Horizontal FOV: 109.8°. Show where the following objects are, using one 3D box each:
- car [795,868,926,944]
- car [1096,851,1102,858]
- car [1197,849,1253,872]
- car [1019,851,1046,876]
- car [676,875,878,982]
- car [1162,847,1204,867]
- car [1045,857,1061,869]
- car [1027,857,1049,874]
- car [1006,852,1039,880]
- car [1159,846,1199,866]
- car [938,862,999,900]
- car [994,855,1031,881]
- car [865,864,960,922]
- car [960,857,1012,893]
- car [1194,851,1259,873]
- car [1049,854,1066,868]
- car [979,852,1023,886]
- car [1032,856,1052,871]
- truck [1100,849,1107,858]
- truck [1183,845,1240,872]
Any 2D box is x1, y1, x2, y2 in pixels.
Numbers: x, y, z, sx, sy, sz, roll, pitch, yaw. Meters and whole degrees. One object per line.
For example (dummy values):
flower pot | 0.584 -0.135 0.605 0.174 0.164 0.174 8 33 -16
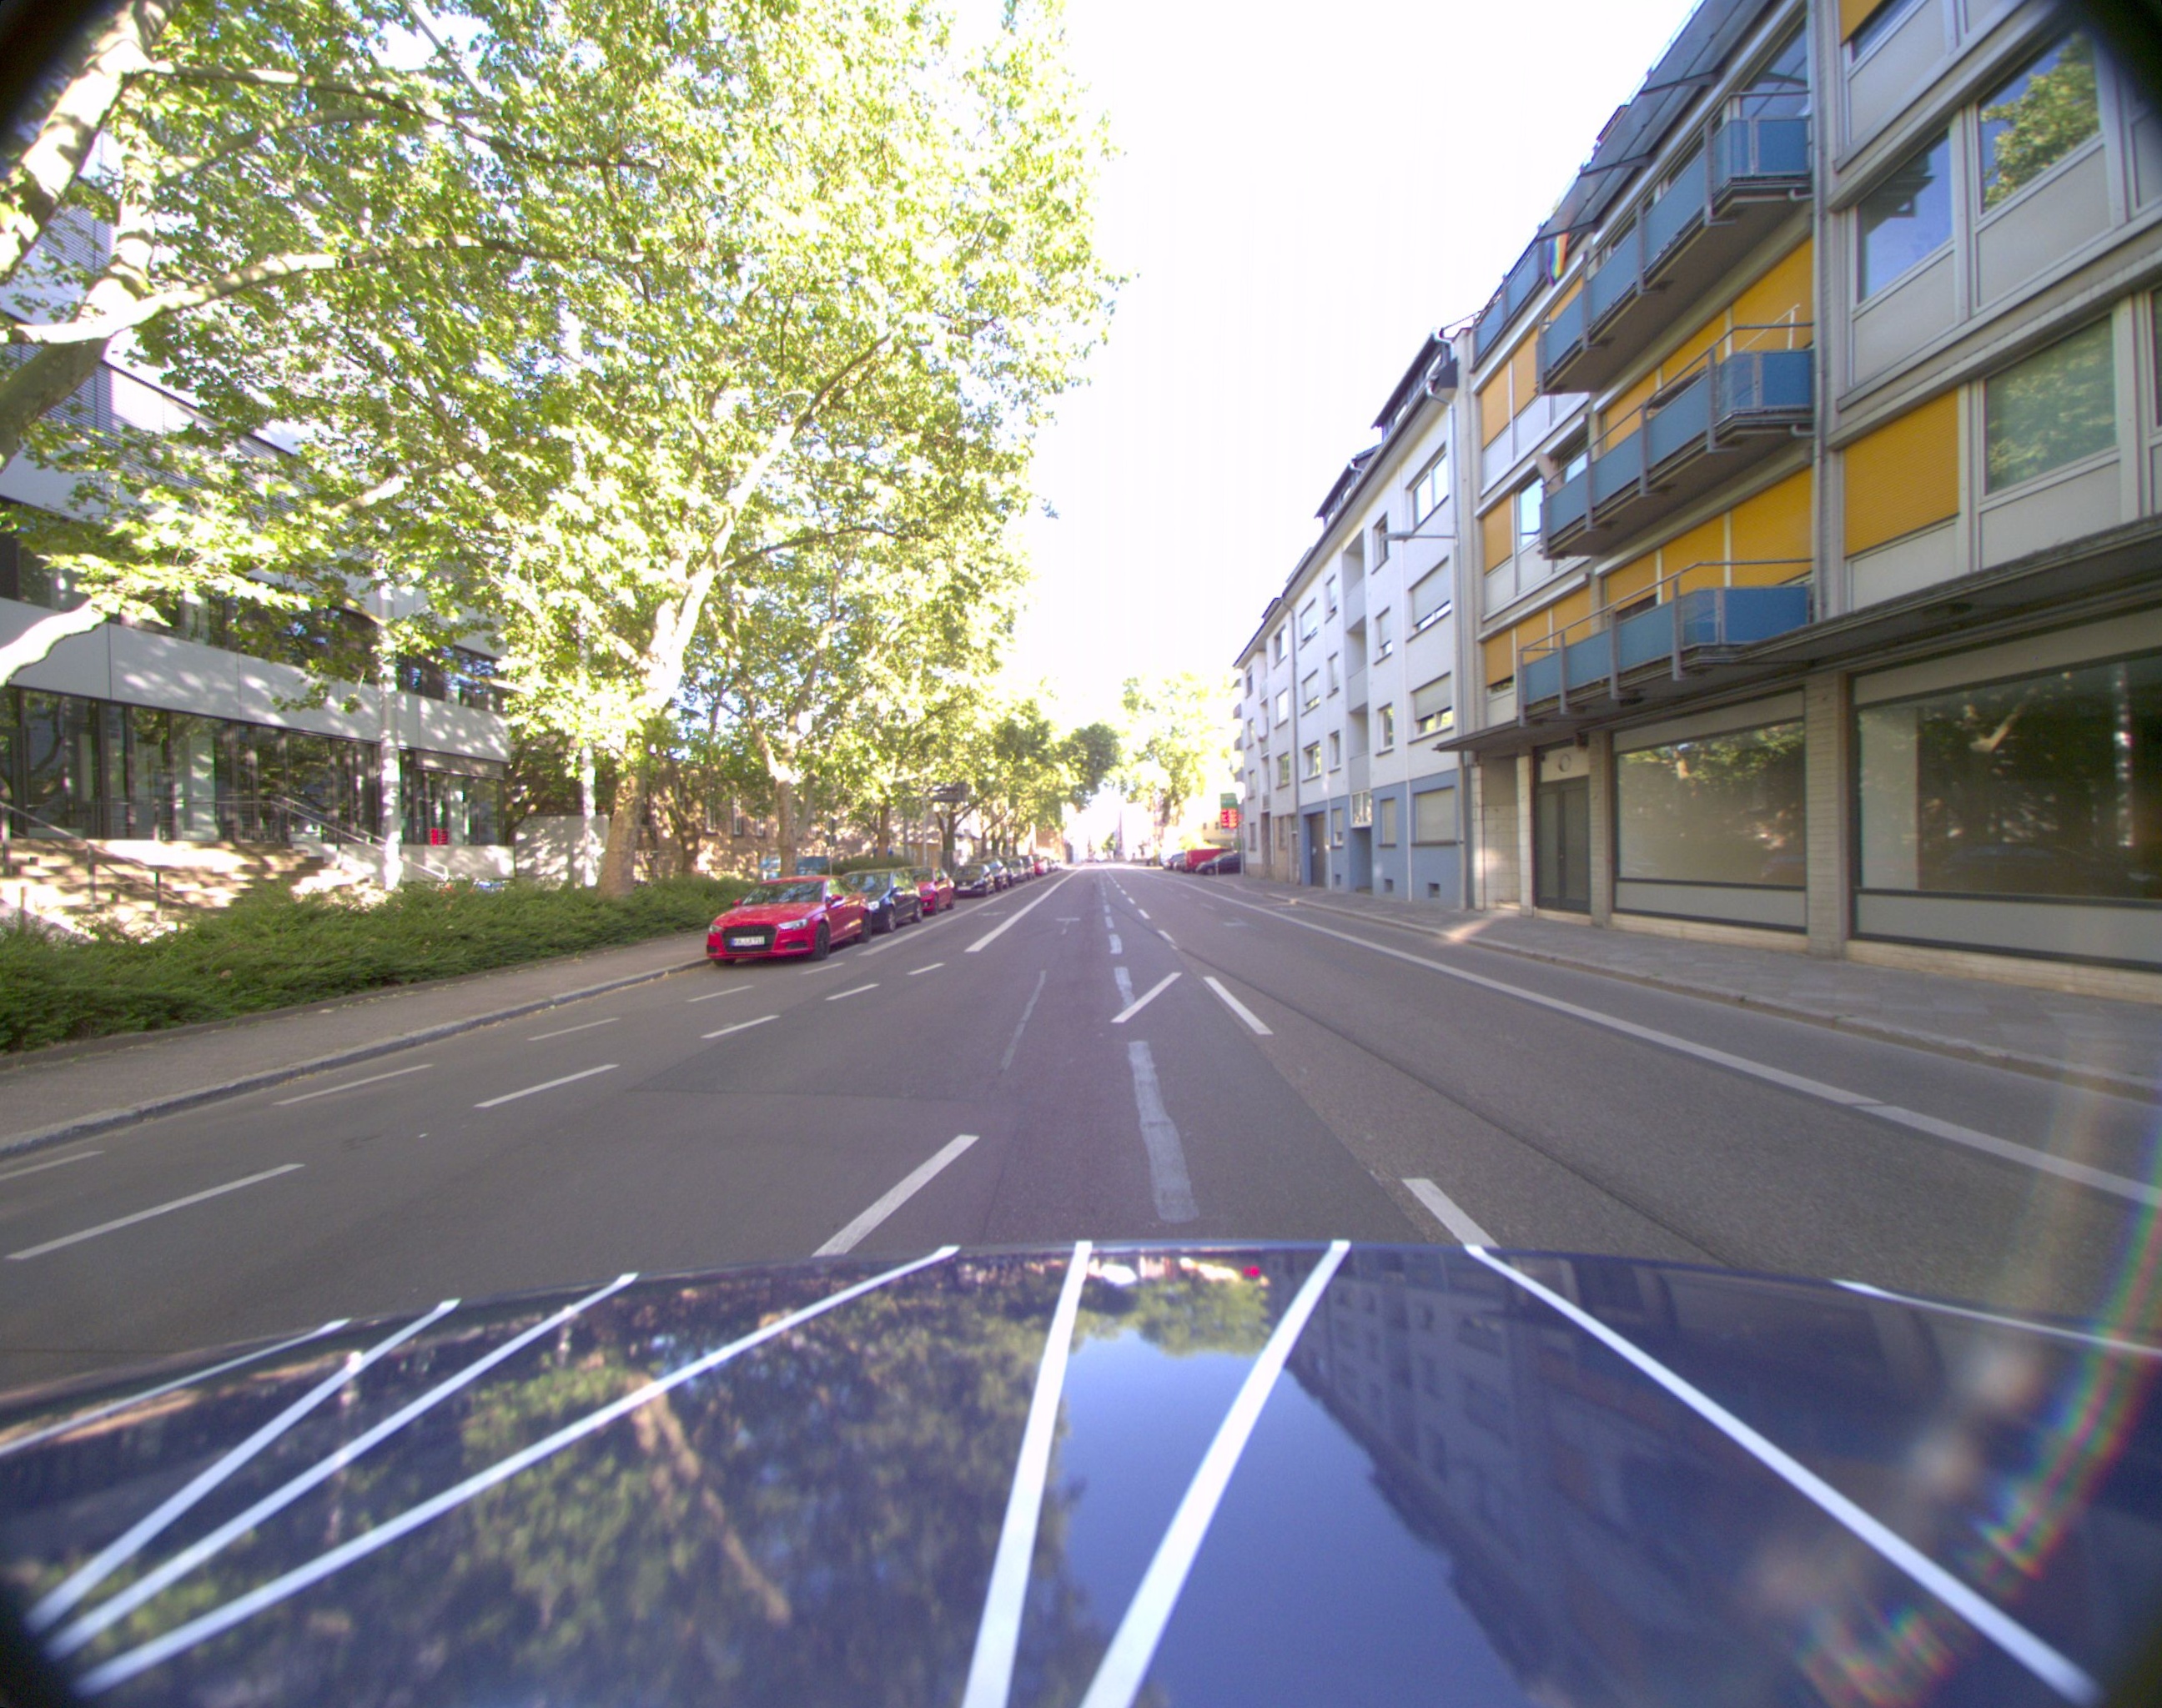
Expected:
car | -5.175 1.168 18.353 1.998 1.452 3.644 -2 1 1
car | 6.153 0.187 259.435 1.998 2.002 3.999 -2 1 1
car | 10.797 0.451 57.095 3.810 1.563 1.658 -2 1 0
car | -4.226 0.785 66.410 1.998 1.960 3.999 -2 1 1
car | -5.191 1.197 13.618 1.907 1.417 3.999 -2 1 1
car | 10.858 0.284 80.893 4.236 1.945 2.000 -2 1 3
car | -3.353 1.069 92.717 1.693 1.364 3.999 -2 1 1
car | -4.042 1.081 71.977 1.824 1.466 3.999 -2 1 1
car | -4.235 0.844 55.539 1.998 1.838 3.999 -2 1 1
car | 10.944 0.218 85.294 4.236 2.025 2.000 -2 1 3
car | -4.842 1.128 33.159 1.998 1.447 3.589 -2 1 1
car | -4.518 0.899 50.936 1.998 1.557 4.142 -2 1 1
car | -5.132 1.149 23.657 1.998 1.490 3.828 -2 1 1
car | -4.688 1.005 38.108 1.998 1.592 4.142 -2 1 1
car | 10.451 0.573 54.764 4.324 1.398 1.658 -2 1 0
car | -3.191 0.906 102.988 1.998 1.682 3.999 -2 1 1
car | -4.612 0.838 44.496 1.998 1.777 4.572 -2 1 1
car | -4.143 0.987 80.729 1.824 1.466 3.999 -2 1 1
truck | 6.866 -0.299 233.803 1.998 2.653 5.314 -2 1 0
truck | 10.282 0.321 60.189 4.092 1.913 2.000 -2 1 0
